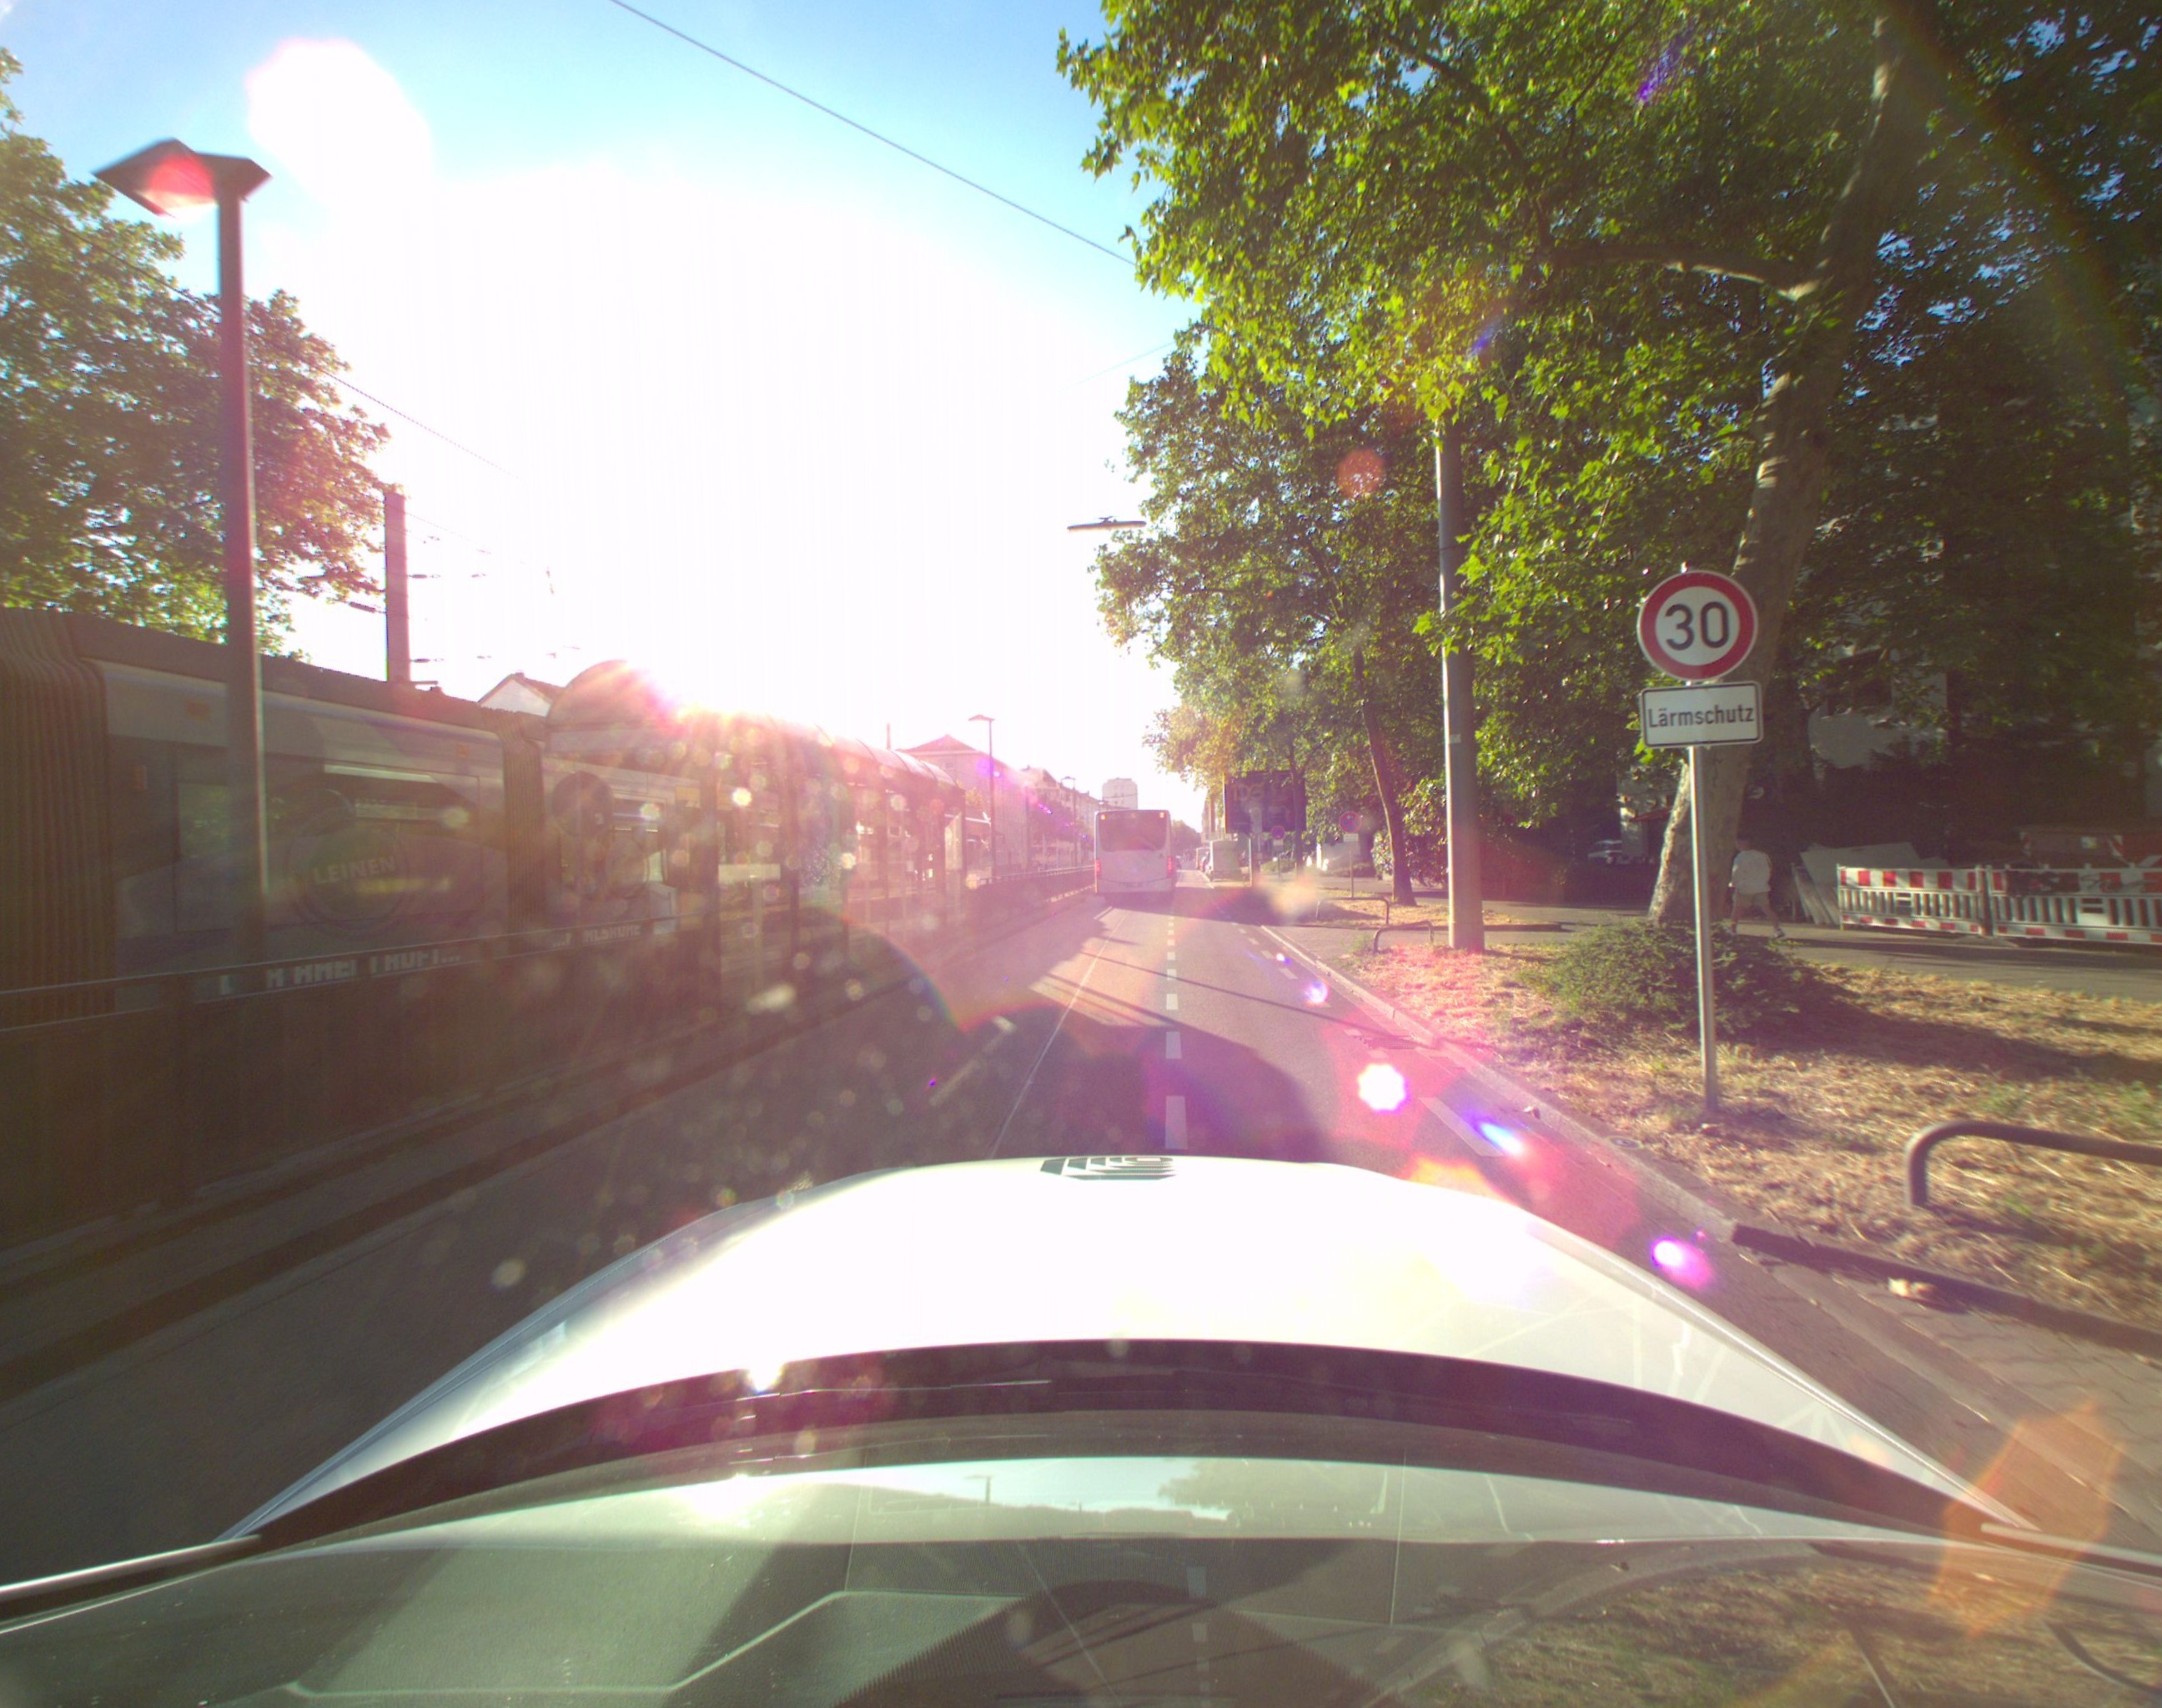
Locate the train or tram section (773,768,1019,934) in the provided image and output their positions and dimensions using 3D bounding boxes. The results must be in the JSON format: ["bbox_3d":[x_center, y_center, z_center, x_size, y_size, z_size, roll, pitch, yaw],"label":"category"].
[{"bbox_3d":[-4.560,-0.042,24.328,2.626,3.519,13.360,-2,0,7],"label":"train or tram section"}]

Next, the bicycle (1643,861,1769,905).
[{"bbox_3d":[15.182,0.705,19.839,2.357,1.024,0.666,-1,-1,14],"label":"bicycle"}]

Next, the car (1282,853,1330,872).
[{"bbox_3d":[20.040,0.766,72.564,3.899,1.588,1.709,-2,-1,7],"label":"car"}]

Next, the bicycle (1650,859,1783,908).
[{"bbox_3d":[14.740,0.684,18.945,2.358,1.024,0.666,-2,-1,12],"label":"bicycle"}]

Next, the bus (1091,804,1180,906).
[{"bbox_3d":[2.248,0.037,31.127,2.720,3.139,10.719,-2,0,6],"label":"bus"}]

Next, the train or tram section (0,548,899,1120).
[{"bbox_3d":[-6.170,-0.073,11.553,2.714,3.549,12.810,-2,0,7],"label":"train or tram section"}]

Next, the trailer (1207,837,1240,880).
[{"bbox_3d":[9.032,0.281,51.693,1.823,2.557,3.325,-2,-1,7],"label":"trailer"}]

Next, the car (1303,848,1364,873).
[{"bbox_3d":[18.229,0.454,58.904,3.899,1.636,1.709,-2,-1,7],"label":"car"}]

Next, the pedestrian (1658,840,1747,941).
[{"bbox_3d":[10.073,0.572,13.224,0.787,1.572,0.817,-2,0,2],"label":"pedestrian"}]

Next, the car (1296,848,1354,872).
[{"bbox_3d":[18.353,0.433,61.272,3.899,1.637,1.709,-2,-1,7],"label":"car"}]

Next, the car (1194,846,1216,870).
[{"bbox_3d":[14.716,0.486,96.817,2.270,2.627,5.320,-2,-1,7],"label":"car"}]

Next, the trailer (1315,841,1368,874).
[{"bbox_3d":[17.147,0.222,53.707,3.047,2.069,1.883,-1,0,8],"label":"trailer"}]

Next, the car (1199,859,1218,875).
[{"bbox_3d":[12.668,1.278,80.781,1.662,1.463,3.941,-4,-1,7],"label":"car"}]

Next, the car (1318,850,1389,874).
[{"bbox_3d":[17.019,0.515,51.008,3.898,1.336,1.710,-2,-1,8],"label":"car"}]

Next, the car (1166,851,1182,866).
[{"bbox_3d":[12.255,0.573,107.090,1.982,1.816,4.009,-1,0,8],"label":"car"}]

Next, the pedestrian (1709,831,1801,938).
[{"bbox_3d":[10.887,0.476,13.189,0.787,1.667,0.817,-2,0,2],"label":"pedestrian"}]

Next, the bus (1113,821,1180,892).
[{"bbox_3d":[3.447,0.118,40.877,2.693,3.107,9.000,-2,0,8],"label":"bus"}]

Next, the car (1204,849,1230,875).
[{"bbox_3d":[10.802,0.651,64.871,1.837,1.956,4.552,-2,-1,7],"label":"car"}]
